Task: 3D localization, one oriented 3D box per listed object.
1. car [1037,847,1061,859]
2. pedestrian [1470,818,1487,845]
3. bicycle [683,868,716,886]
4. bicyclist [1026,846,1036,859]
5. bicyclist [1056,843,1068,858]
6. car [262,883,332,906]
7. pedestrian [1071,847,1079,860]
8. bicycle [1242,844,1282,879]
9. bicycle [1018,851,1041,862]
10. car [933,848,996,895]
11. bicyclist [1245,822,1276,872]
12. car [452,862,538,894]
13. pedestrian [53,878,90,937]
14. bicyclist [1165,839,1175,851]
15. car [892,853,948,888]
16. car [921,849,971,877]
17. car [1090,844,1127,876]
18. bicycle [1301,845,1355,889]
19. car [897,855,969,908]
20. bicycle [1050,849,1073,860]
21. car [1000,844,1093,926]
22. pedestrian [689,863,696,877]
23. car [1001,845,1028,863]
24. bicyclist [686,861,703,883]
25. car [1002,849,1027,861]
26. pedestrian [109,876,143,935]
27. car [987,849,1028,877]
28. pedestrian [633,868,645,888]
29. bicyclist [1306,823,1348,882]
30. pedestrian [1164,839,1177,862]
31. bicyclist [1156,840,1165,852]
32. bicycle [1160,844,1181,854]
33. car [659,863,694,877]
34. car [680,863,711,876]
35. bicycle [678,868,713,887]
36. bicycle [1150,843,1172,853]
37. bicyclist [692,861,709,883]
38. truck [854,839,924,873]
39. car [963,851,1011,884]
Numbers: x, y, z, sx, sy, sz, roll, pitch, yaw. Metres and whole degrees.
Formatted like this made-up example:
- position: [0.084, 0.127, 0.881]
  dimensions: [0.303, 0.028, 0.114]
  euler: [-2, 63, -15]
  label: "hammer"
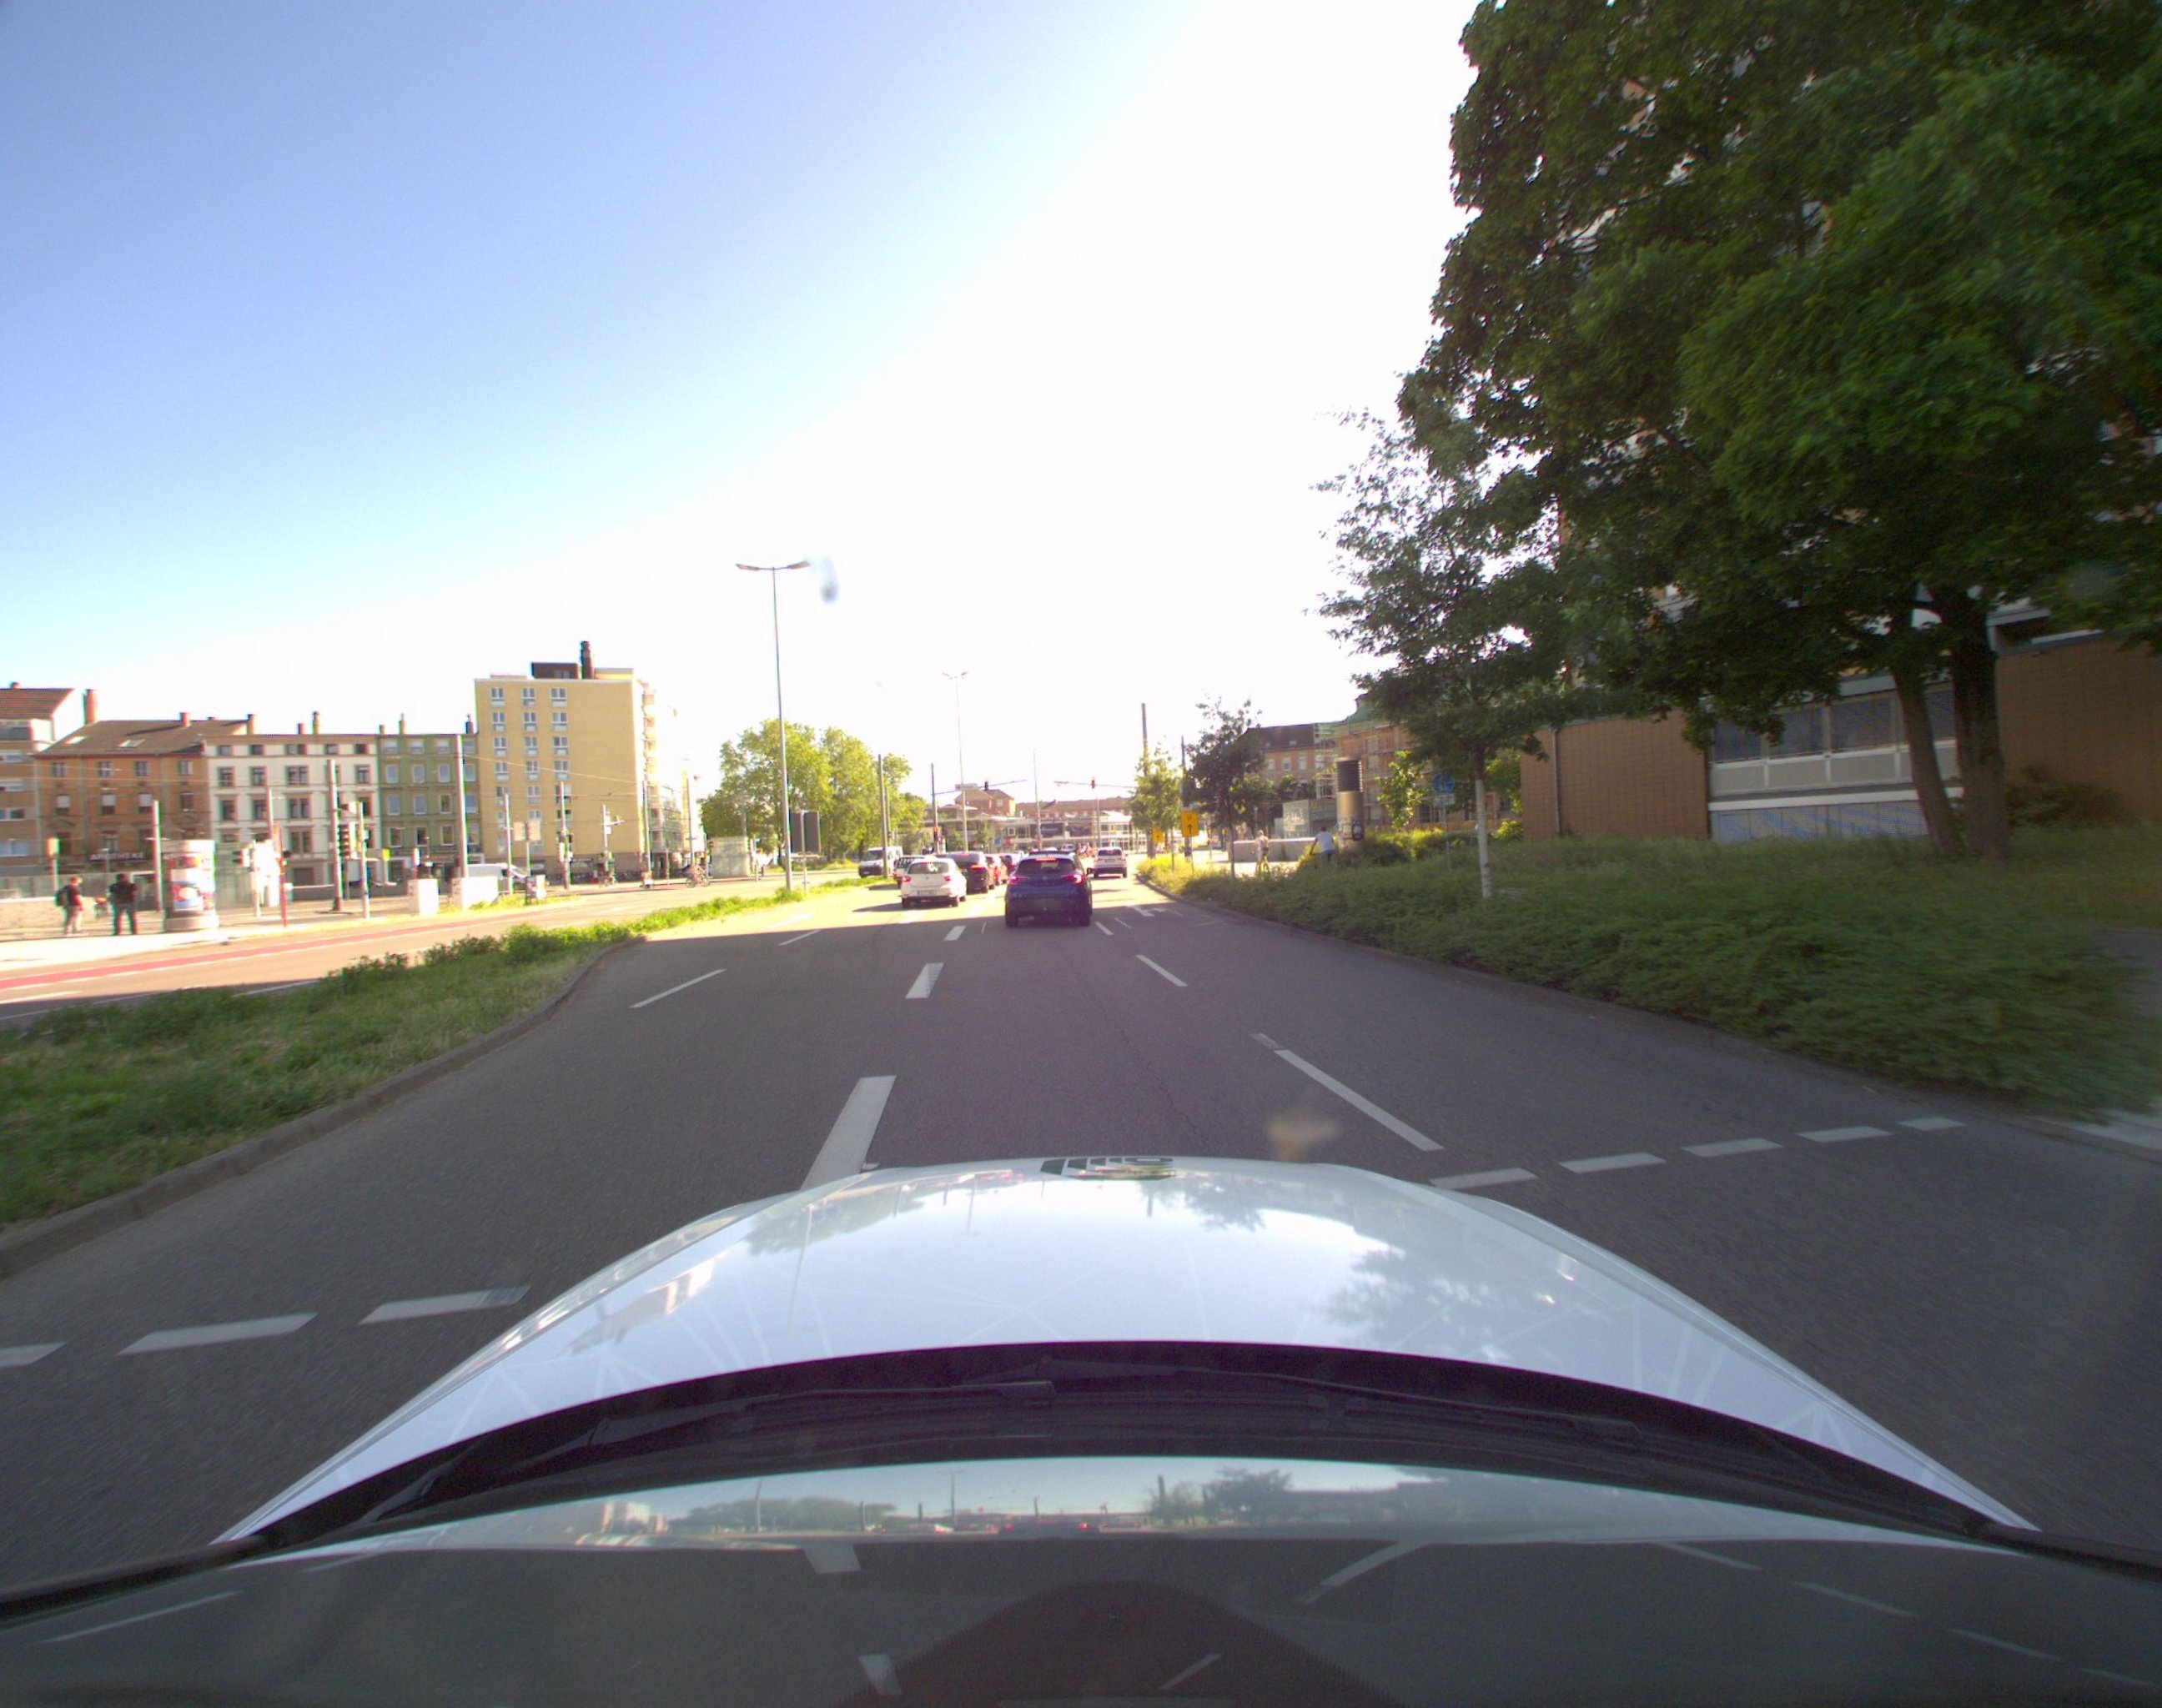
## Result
- position: [-4.319, -0.112, 110.765]
  dimensions: [1.710, 1.442, 4.206]
  euler: [-2, 0, 20]
  label: "car"
- position: [25.636, -1.462, 52.529]
  dimensions: [0.539, 1.752, 0.783]
  euler: [-3, 3, -22]
  label: "pedestrian"
- position: [-26.017, 1.551, 55.561]
  dimensions: [1.944, 1.165, 0.643]
  euler: [-2, 0, -1]
  label: "bicycle"
- position: [-6.242, -0.188, 101.041]
  dimensions: [1.065, 1.584, 0.942]
  euler: [-3, 3, -16]
  label: "bicyclist"
- position: [-2.349, -0.485, 100.309]
  dimensions: [1.189, 1.776, 0.940]
  euler: [-3, 3, -23]
  label: "bicyclist"
- position: [-71.525, 3.673, 74.359]
  dimensions: [3.993, 1.771, 1.991]
  euler: [-3, 3, -14]
  label: "car"
- position: [-0.784, -0.037, 105.358]
  dimensions: [0.694, 1.610, 0.857]
  euler: [0, 3, 38]
  label: "pedestrian"
- position: [6.508, 0.256, 29.404]
  dimensions: [0.745, 1.165, 1.865]
  euler: [-3, 1, -8]
  label: "bicycle"
- position: [-6.365, 0.270, 101.034]
  dimensions: [2.652, 1.188, 0.942]
  euler: [-3, 3, -16]
  label: "bicycle"
- position: [-4.547, 0.638, 32.350]
  dimensions: [1.979, 1.623, 4.374]
  euler: [-3, 0, -3]
  label: "car"
- position: [6.480, -0.258, 29.442]
  dimensions: [0.719, 1.762, 0.975]
  euler: [-3, 1, -7]
  label: "bicyclist"
- position: [-49.813, 2.033, 69.337]
  dimensions: [5.498, 2.411, 1.989]
  euler: [-3, 0, -16]
  label: "car"
- position: [-30.586, 1.617, 24.681]
  dimensions: [0.780, 1.723, 0.651]
  euler: [-4, -2, 42]
  label: "pedestrian"
- position: [11.894, -1.178, 109.025]
  dimensions: [1.065, 1.584, 0.942]
  euler: [-3, 3, -16]
  label: "bicyclist"
- position: [-7.424, 0.718, 37.884]
  dimensions: [1.719, 1.442, 3.799]
  euler: [-3, 0, 1]
  label: "car"
- position: [-7.457, 0.487, 45.261]
  dimensions: [1.716, 1.442, 3.917]
  euler: [0, 1, 6]
  label: "car"
- position: [1.543, 0.310, 44.435]
  dimensions: [1.868, 1.617, 3.629]
  euler: [-1, 0, 4]
  label: "car"
- position: [7.065, 0.343, 23.387]
  dimensions: [0.716, 1.165, 1.865]
  euler: [-3, 1, -9]
  label: "bicycle"
- position: [-4.509, 0.784, 25.275]
  dimensions: [1.687, 1.435, 3.732]
  euler: [-3, 0, -3]
  label: "car"
- position: [-2.370, 0.070, 100.296]
  dimensions: [2.658, 1.188, 0.940]
  euler: [-3, 3, -24]
  label: "bicycle"
- position: [-0.697, 0.657, 18.529]
  dimensions: [1.870, 1.617, 3.797]
  euler: [-1, -1, 0]
  label: "car"
- position: [-44.697, 1.848, 93.705]
  dimensions: [0.608, 1.610, 0.795]
  euler: [-3, 3, -21]
  label: "pedestrian"
- position: [-8.683, -0.002, 106.771]
  dimensions: [1.977, 2.013, 4.022]
  euler: [-1, 3, 21]
  label: "car"
- position: [-25.829, 1.215, 54.430]
  dimensions: [0.771, 1.444, 0.643]
  euler: [-2, 0, 0]
  label: "bicyclist"
- position: [-8.748, 0.123, 107.508]
  dimensions: [1.710, 1.442, 4.206]
  euler: [-2, 0, 20]
  label: "car"
- position: [-28.707, 1.530, 24.486]
  dimensions: [0.780, 1.742, 0.651]
  euler: [-1, -1, 42]
  label: "pedestrian"
- position: [-4.018, 0.472, 44.978]
  dimensions: [1.718, 1.442, 3.801]
  euler: [0, 1, 3]
  label: "car"
- position: [-32.871, 1.780, 60.573]
  dimensions: [0.594, 1.408, 0.566]
  euler: [-3, 2, -15]
  label: "pedestrian"
- position: [7.051, -0.039, 23.379]
  dimensions: [0.719, 1.617, 0.975]
  euler: [-3, 1, -8]
  label: "bicyclist"
- position: [6.667, -0.250, 60.804]
  dimensions: [0.588, 1.723, 0.876]
  euler: [-3, -2, 34]
  label: "pedestrian"
- position: [10.278, -1.035, 105.052]
  dimensions: [0.960, 1.449, 0.968]
  euler: [-3, 0, -3]
  label: "bicyclist"
- position: [11.937, -0.724, 109.015]
  dimensions: [2.652, 1.188, 0.942]
  euler: [-3, 3, -16]
  label: "bicycle"
- position: [-47.582, 1.903, 95.859]
  dimensions: [3.442, 1.510, 1.683]
  euler: [-2, 0, -18]
  label: "car"
- position: [-47.792, 1.895, 100.925]
  dimensions: [3.272, 1.316, 1.516]
  euler: [-3, 3, -19]
  label: "car"
- position: [-25.759, 1.550, 54.430]
  dimensions: [1.944, 1.165, 0.643]
  euler: [-2, 0, -1]
  label: "bicycle"
- position: [10.346, -0.766, 105.064]
  dimensions: [2.638, 1.095, 0.967]
  euler: [-3, 0, -4]
  label: "bicycle"
- position: [-25.952, 1.239, 55.566]
  dimensions: [0.772, 1.444, 0.643]
  euler: [-2, 0, -1]
  label: "bicyclist"
- position: [-14.107, 0.090, 60.416]
  dimensions: [2.199, 2.313, 6.908]
  euler: [-2, 0, 13]
  label: "truck"
- position: [-4.415, 0.612, 38.551]
  dimensions: [1.665, 1.442, 3.724]
  euler: [0, 1, 3]
  label: "car"
